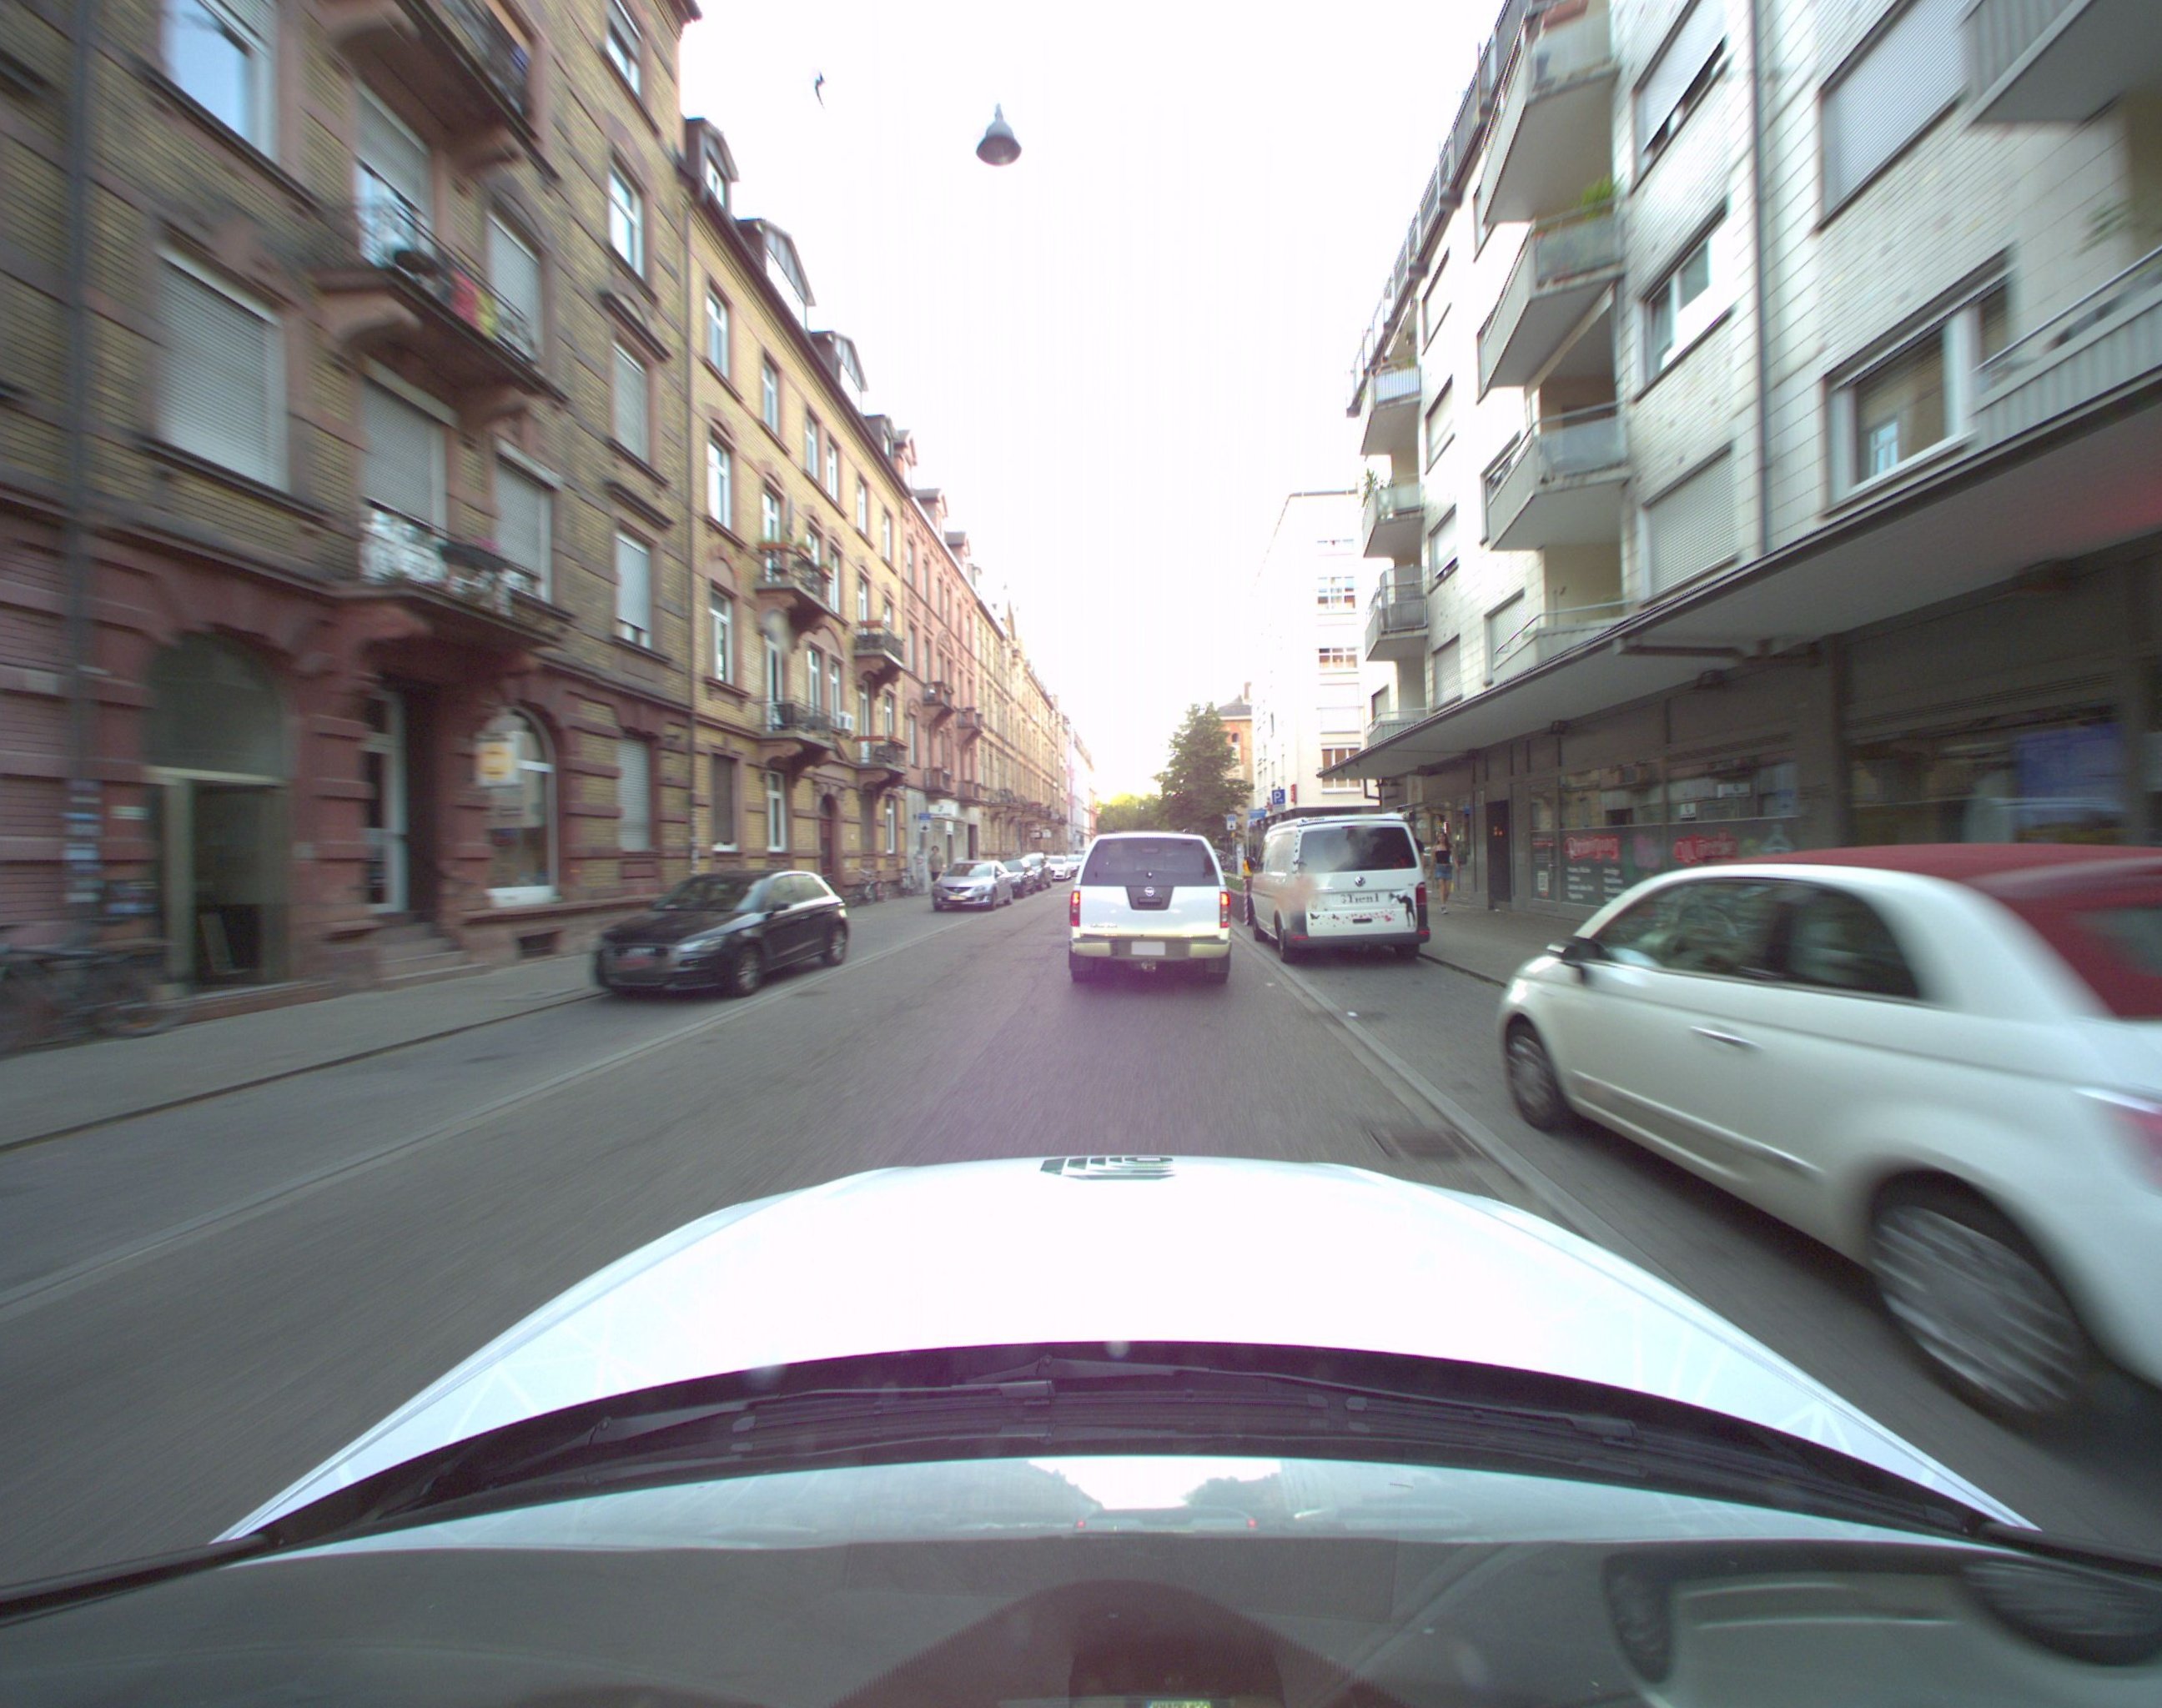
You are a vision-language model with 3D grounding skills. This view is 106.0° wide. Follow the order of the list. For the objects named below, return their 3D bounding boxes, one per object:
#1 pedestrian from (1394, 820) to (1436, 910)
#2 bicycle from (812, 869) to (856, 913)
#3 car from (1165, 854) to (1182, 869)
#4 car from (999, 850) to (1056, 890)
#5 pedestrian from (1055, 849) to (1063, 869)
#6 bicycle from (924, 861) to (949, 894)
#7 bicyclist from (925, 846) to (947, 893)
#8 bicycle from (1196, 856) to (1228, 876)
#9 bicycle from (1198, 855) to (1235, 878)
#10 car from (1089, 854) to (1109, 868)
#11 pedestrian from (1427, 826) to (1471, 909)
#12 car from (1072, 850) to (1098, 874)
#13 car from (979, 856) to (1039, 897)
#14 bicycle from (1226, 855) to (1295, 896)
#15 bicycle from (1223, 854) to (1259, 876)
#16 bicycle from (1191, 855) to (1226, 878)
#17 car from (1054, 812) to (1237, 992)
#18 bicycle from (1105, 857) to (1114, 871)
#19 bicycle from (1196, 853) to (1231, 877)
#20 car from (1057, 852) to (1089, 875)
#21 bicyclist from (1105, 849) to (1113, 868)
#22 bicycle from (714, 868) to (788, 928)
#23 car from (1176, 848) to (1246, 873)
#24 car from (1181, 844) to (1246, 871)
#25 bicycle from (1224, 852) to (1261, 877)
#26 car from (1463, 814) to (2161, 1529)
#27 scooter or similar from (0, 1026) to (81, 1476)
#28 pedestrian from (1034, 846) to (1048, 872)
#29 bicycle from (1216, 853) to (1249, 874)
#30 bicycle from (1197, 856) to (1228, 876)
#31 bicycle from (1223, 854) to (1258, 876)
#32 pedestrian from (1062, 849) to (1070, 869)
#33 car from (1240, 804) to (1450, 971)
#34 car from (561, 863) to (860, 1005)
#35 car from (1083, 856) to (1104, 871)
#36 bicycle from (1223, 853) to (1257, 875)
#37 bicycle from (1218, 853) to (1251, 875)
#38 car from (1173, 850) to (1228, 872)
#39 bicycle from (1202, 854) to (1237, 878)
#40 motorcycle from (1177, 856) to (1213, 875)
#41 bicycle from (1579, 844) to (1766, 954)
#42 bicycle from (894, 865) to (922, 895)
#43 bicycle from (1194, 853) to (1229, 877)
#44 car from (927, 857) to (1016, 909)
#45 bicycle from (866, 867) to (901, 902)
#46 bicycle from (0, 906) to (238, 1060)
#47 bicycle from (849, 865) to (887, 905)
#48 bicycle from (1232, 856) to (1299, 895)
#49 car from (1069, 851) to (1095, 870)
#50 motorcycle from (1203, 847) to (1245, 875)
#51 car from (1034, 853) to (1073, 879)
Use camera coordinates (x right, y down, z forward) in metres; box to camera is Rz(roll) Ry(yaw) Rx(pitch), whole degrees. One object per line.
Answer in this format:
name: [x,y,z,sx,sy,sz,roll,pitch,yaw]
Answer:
pedestrian: [7.046,0.229,17.167,0.702,1.828,0.865,-3,-2,23]
bicycle: [-6.695,0.982,22.131,0.736,1.123,1.610,0,0,-2]
car: [10.034,0.763,88.481,1.668,1.429,4.485,-5,0,5]
car: [-2.296,0.640,36.034,1.844,1.633,4.452,0,0,5]
pedestrian: [-1.973,0.430,73.373,0.578,1.771,0.998,1,1,1]
bicycle: [-5.371,0.866,30.134,0.709,1.196,1.732,0,-1,-17]
bicyclist: [-5.377,0.570,30.169,0.709,1.730,0.838,0,-1,-17]
bicycle: [7.803,0.693,48.638,1.763,1.022,0.566,-5,-2,7]
bicycle: [7.260,0.655,43.664,1.801,1.118,0.707,-3,-1,3]
car: [1.942,0.752,87.281,1.825,1.458,4.212,1,0,5]
pedestrian: [7.627,0.286,16.905,0.702,1.665,0.748,-3,-2,21]
car: [0.350,0.640,69.030,1.985,1.924,4.954,1,0,2]
car: [-2.671,0.814,30.901,1.577,1.420,3.702,-1,0,6]
bicycle: [5.442,0.663,24.765,1.920,1.134,0.661,-4,-1,42]
bicycle: [8.345,0.580,42.530,1.713,1.054,0.655,-3,-1,7]
bicycle: [6.705,0.654,42.913,1.715,1.118,0.707,-3,-1,3]
car: [0.947,0.517,11.128,1.901,1.853,5.279,0,-1,6]
bicycle: [2.399,0.829,69.208,0.642,1.081,2.171,-3,0,4]
bicycle: [7.462,0.603,45.821,1.775,1.182,0.737,-5,-2,15]
car: [-0.525,0.631,56.050,1.708,1.457,4.007,0,0,6]
bicyclist: [2.383,0.385,69.223,0.642,1.621,0.919,-3,0,4]
bicycle: [-7.182,0.929,17.815,0.524,1.171,2.052,1,0,8]
car: [8.853,0.455,55.758,4.411,1.455,1.779,-3,0,-2]
car: [9.497,0.227,58.486,4.379,1.647,1.748,-3,0,4]
bicycle: [8.221,0.543,41.510,1.721,1.132,0.577,-3,-1,-8]
car: [3.133,0.651,3.336,1.586,1.501,3.425,-3,0,2]
scooter or similar: [-3.189,1.036,1.658,0.803,1.104,1.174,-2,0,5]
pedestrian: [-2.741,0.336,55.654,0.549,1.755,1.027,-1,-1,20]
bicycle: [8.674,0.545,46.726,1.716,1.118,0.654,-3,-1,1]
bicycle: [7.735,0.691,48.021,1.710,1.031,0.669,-5,-2,7]
bicycle: [8.439,0.587,43.197,1.713,1.054,0.655,-3,-1,7]
pedestrian: [-1.340,0.429,73.570,0.603,1.772,0.777,1,1,1]
car: [3.764,0.407,12.632,1.949,1.973,5.010,-3,0,5]
car: [-4.434,0.859,10.487,1.684,1.420,3.863,0,0,7]
car: [1.244,0.930,78.440,1.729,1.418,4.784,0,-1,4]
bicycle: [8.639,0.539,44.345,1.713,1.118,0.655,-3,-1,7]
bicycle: [8.666,0.558,46.002,1.716,1.118,0.654,-3,-1,1]
car: [9.308,0.556,63.689,3.971,1.456,1.829,-3,0,2]
bicycle: [7.131,0.630,42.017,1.713,1.118,0.708,-3,-1,7]
motorcycle: [7.240,0.709,51.755,2.058,1.078,0.661,-3,-1,-11]
bicycle: [7.330,0.531,10.221,0.910,1.196,1.706,-3,-1,-9]
bicycle: [-6.363,0.933,30.100,0.447,1.022,1.851,2,0,5]
bicycle: [7.467,0.620,46.667,1.858,1.182,0.745,-5,-2,9]
car: [-3.182,0.804,24.582,1.714,1.420,4.588,0,0,5]
bicycle: [-6.453,0.987,26.640,0.546,1.037,1.762,1,0,5]
bicycle: [-8.261,1.022,6.729,0.423,1.053,1.902,-1,0,8]
bicycle: [-6.582,0.942,25.242,0.546,1.123,1.762,1,0,5]
bicycle: [5.800,0.677,25.684,1.920,1.134,0.661,-4,-1,42]
car: [0.113,0.506,63.918,1.776,1.423,4.489,1,0,3]
motorcycle: [8.892,0.454,50.727,2.478,1.549,0.825,-4,-1,7]
car: [-1.528,0.649,46.750,1.750,1.412,4.514,0,0,5]
